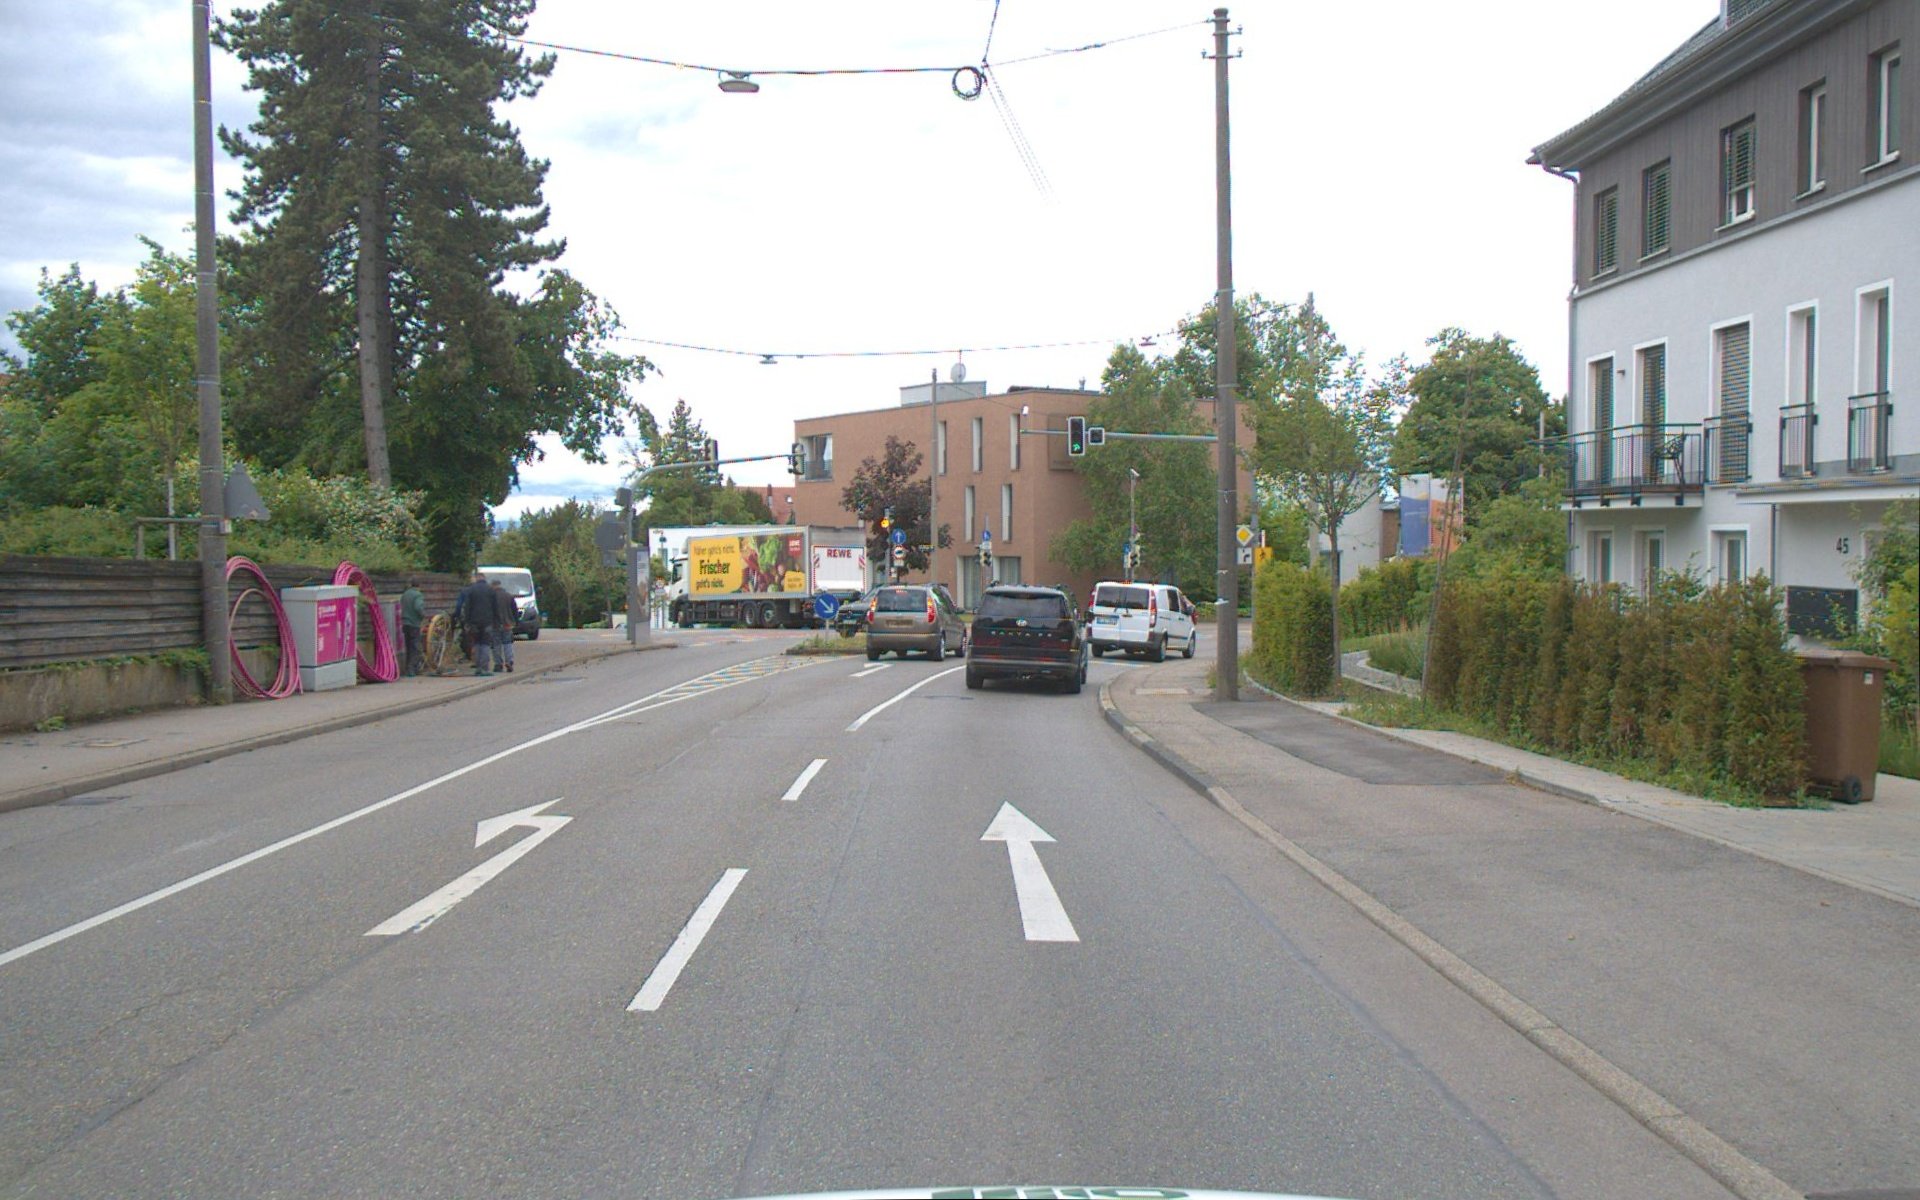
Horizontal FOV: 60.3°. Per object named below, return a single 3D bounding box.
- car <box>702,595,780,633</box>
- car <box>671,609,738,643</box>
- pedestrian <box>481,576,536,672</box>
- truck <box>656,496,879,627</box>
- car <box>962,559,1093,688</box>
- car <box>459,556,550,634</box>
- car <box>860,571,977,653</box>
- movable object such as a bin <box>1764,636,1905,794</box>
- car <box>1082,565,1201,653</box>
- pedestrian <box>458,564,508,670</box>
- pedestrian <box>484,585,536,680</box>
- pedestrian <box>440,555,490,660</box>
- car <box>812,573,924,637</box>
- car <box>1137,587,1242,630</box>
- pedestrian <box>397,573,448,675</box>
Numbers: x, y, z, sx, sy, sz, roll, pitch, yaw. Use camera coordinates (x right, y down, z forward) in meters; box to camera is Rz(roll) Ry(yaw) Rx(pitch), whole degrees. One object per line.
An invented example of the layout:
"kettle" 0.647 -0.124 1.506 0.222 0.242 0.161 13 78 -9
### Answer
"car" -12.291 0.775 92.977 3.943 2.049 1.981 -1 0 -29
"car" -15.918 1.601 103.035 3.924 2.049 1.990 0 0 -18
"pedestrian" -8.476 0.438 31.051 0.683 1.764 0.747 0 0 43
"truck" -7.950 -1.457 66.371 3.106 4.817 11.625 0 0 -40
"car" 1.080 0.350 27.883 1.953 1.914 4.000 3 0 0
"car" -14.300 -0.152 51.712 2.247 2.266 6.433 0 0 -20
"car" -0.873 0.248 36.972 1.852 1.736 4.003 0 0 10
"movable object such as a bin" 6.386 0.824 12.082 0.709 1.092 0.673 3 -2 -38
"car" 4.734 0.195 42.605 1.922 2.048 4.428 3 2 21
"pedestrian" -8.588 0.300 29.799 0.742 1.869 0.608 0 0 -30
"pedestrian" -8.605 0.612 31.621 0.858 1.784 0.689 1 0 -25
"pedestrian" -9.737 0.144 32.557 0.690 2.049 0.813 1 0 2
"car" -2.739 0.170 50.252 1.951 1.829 4.523 -1 -1 17
"car" 8.829 0.340 63.379 1.965 1.591 4.192 0 0 42
"pedestrian" -9.645 0.420 29.668 0.804 1.794 0.861 0 0 -24
